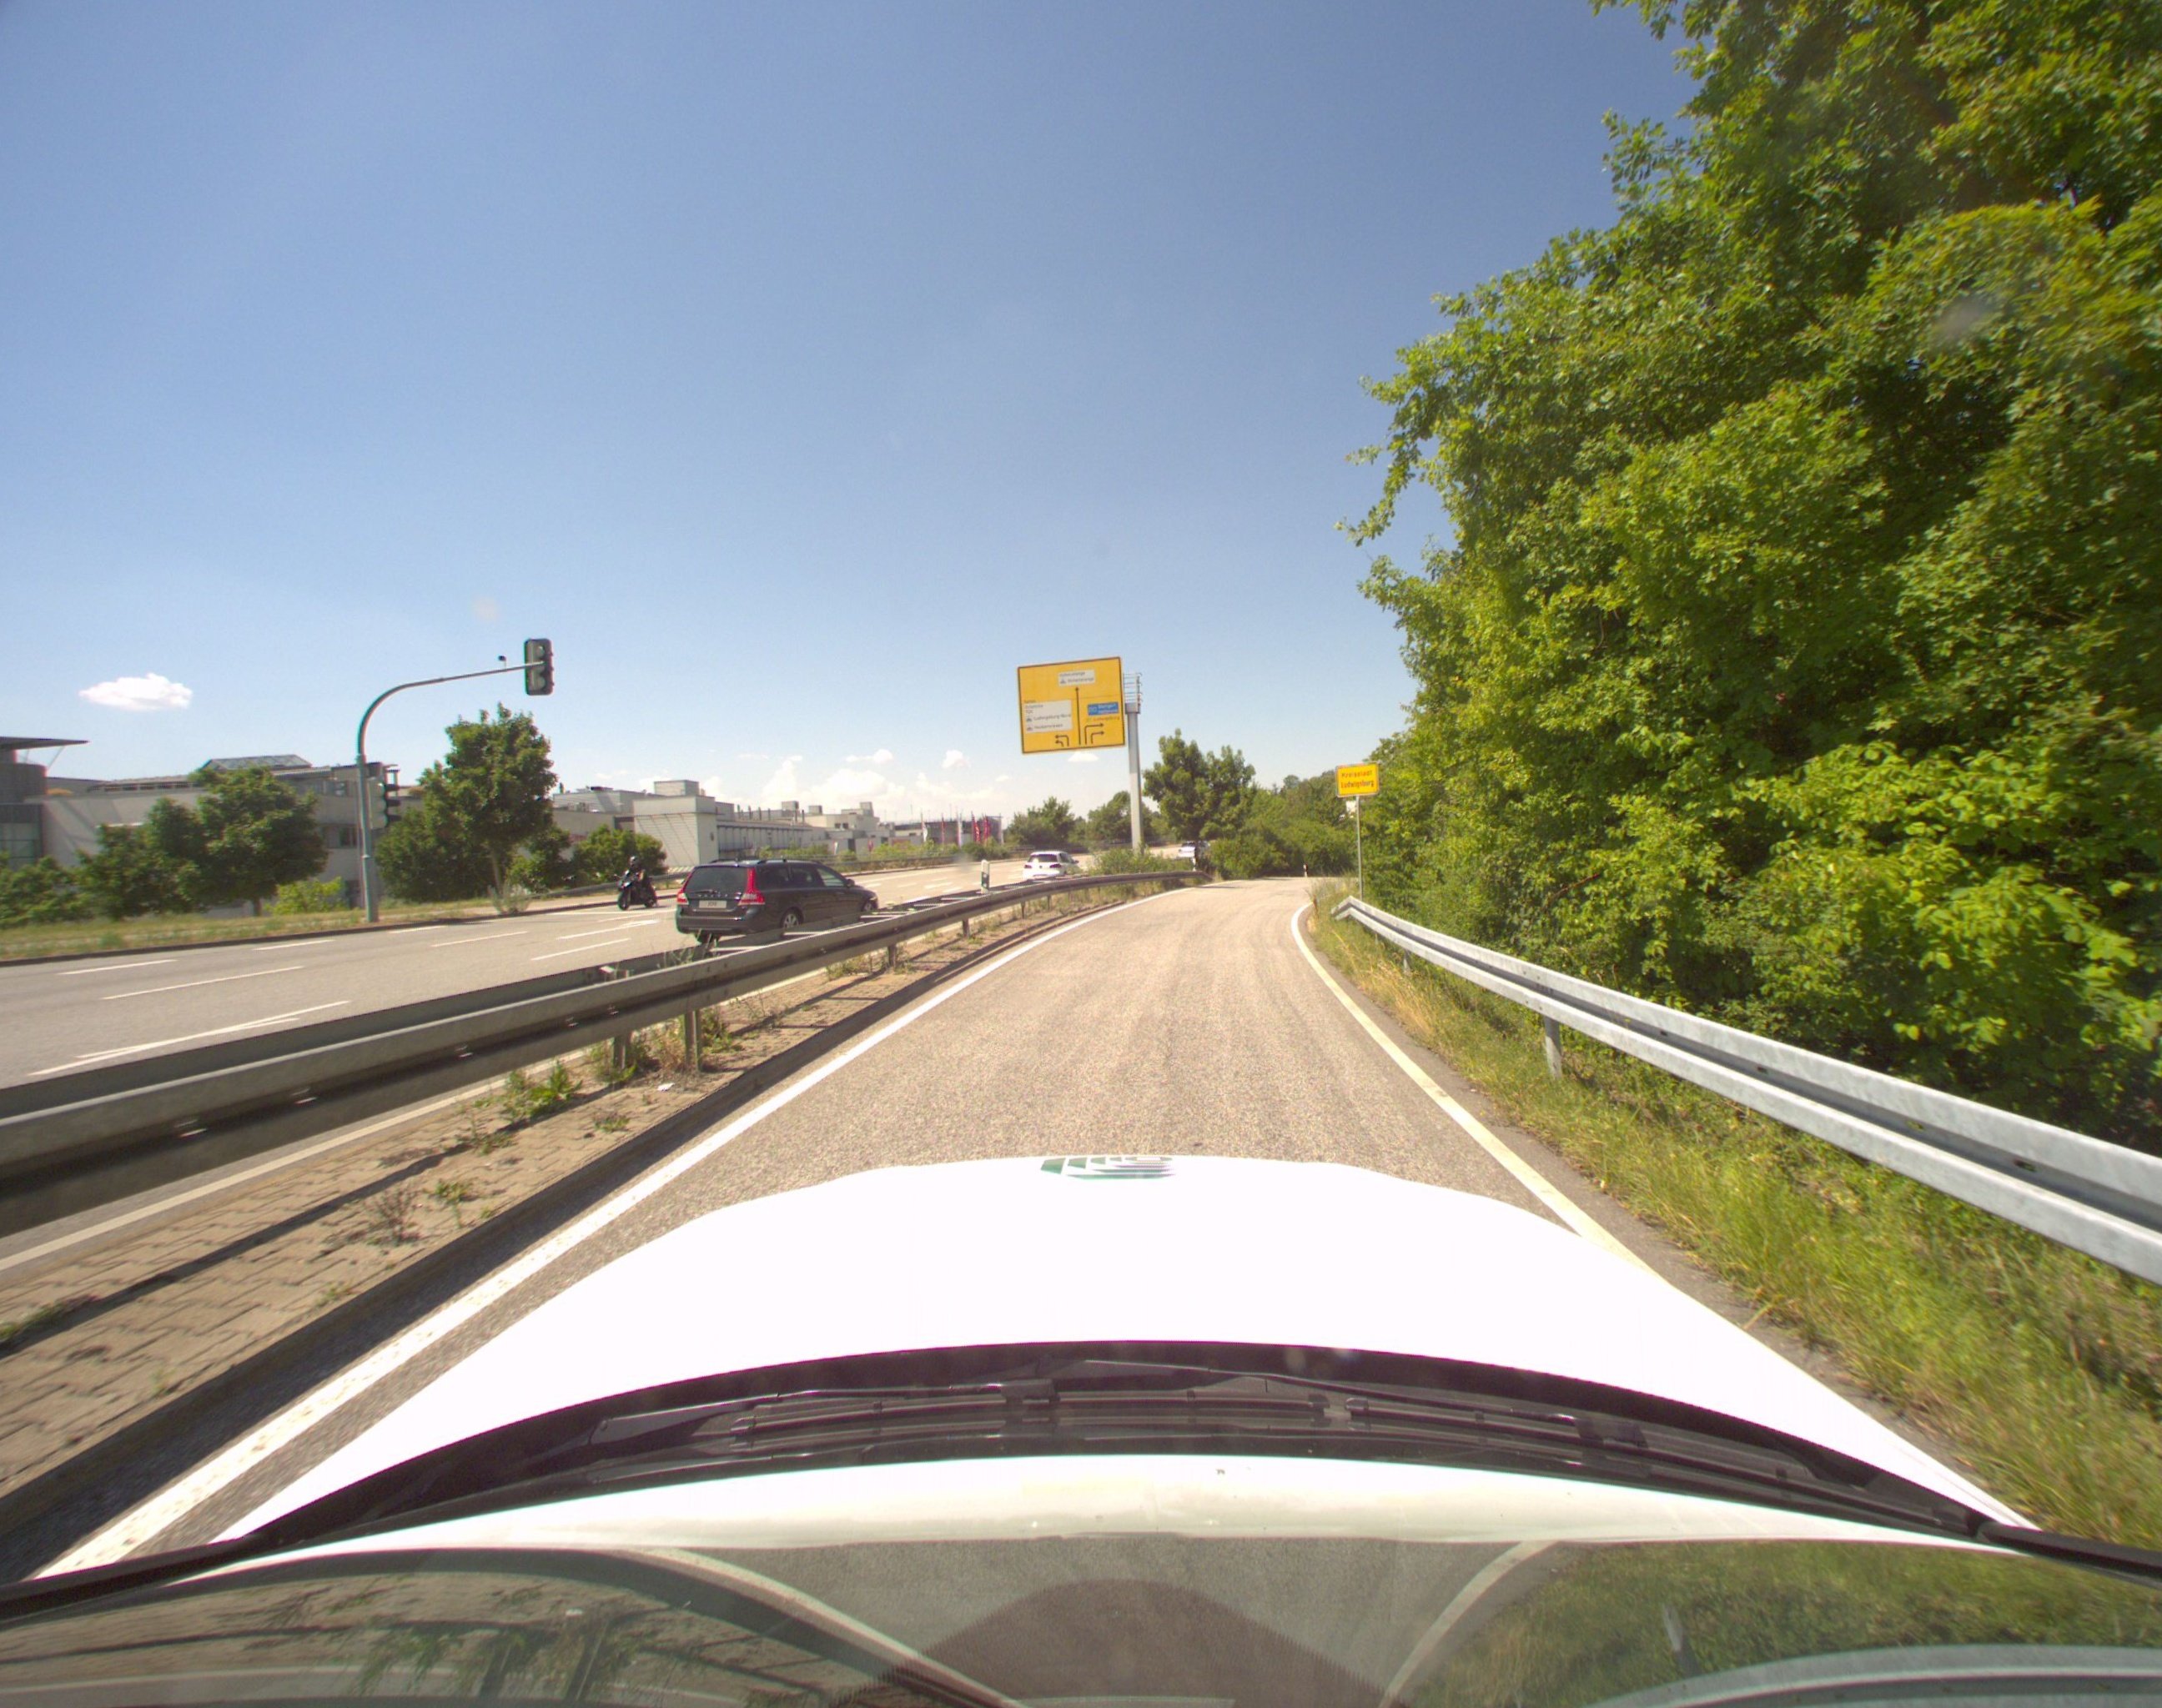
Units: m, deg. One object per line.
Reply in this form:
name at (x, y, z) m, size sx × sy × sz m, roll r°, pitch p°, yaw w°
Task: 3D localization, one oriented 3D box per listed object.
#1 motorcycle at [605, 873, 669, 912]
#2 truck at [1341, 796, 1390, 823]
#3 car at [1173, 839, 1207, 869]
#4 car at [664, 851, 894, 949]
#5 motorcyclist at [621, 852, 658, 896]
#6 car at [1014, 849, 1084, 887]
motorcycle at (-13.812, 1.170, 25.403) m, size 0.560 × 1.080 × 2.286 m, roll -3°, pitch 0°, yaw 3°
truck at (41.756, -6.523, 119.256) m, size 2.999 × 3.589 × 8.957 m, roll -4°, pitch 0°, yaw 44°
car at (8.307, -0.023, 61.724) m, size 1.722 × 2.013 × 3.805 m, roll -4°, pitch 0°, yaw 18°
car at (-5.485, 0.753, 15.605) m, size 1.719 × 1.545 × 4.751 m, roll -2°, pitch 0°, yaw 13°
motorcyclist at (-13.836, 0.623, 25.551) m, size 0.672 × 1.302 × 0.724 m, roll -4°, pitch 0°, yaw 3°
car at (-1.297, 0.558, 35.038) m, size 1.980 × 1.486 × 4.149 m, roll -2°, pitch 0°, yaw 12°
